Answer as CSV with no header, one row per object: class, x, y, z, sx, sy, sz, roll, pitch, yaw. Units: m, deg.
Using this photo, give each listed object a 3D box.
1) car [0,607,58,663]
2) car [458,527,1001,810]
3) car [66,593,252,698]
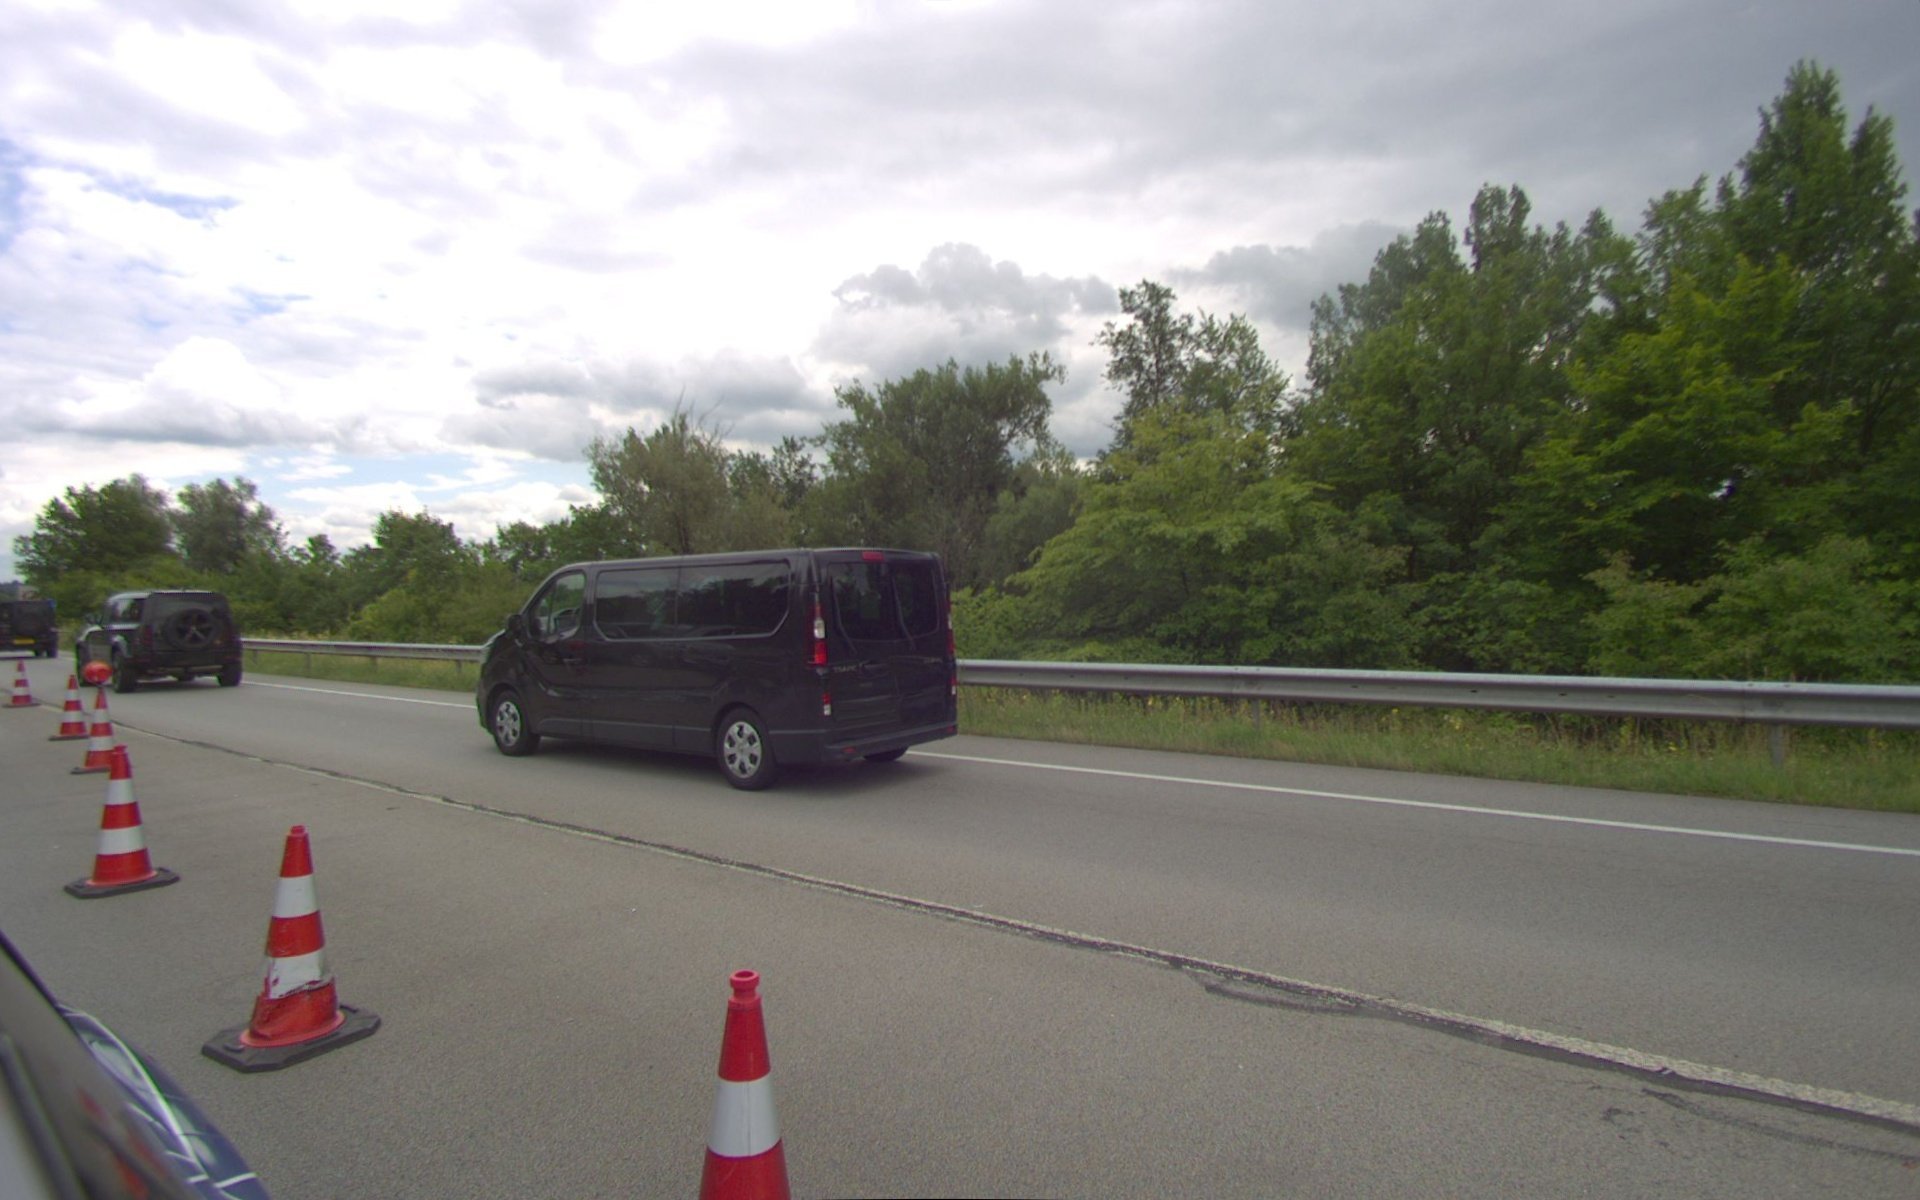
car,-33.116,1.191,35.383,4.531,1.844,1.904,-1,-1,42
car,-2.378,0.525,9.543,5.305,2.002,2.011,-1,-1,36
car,-16.197,0.855,20.390,4.526,1.898,1.948,-1,-1,38
